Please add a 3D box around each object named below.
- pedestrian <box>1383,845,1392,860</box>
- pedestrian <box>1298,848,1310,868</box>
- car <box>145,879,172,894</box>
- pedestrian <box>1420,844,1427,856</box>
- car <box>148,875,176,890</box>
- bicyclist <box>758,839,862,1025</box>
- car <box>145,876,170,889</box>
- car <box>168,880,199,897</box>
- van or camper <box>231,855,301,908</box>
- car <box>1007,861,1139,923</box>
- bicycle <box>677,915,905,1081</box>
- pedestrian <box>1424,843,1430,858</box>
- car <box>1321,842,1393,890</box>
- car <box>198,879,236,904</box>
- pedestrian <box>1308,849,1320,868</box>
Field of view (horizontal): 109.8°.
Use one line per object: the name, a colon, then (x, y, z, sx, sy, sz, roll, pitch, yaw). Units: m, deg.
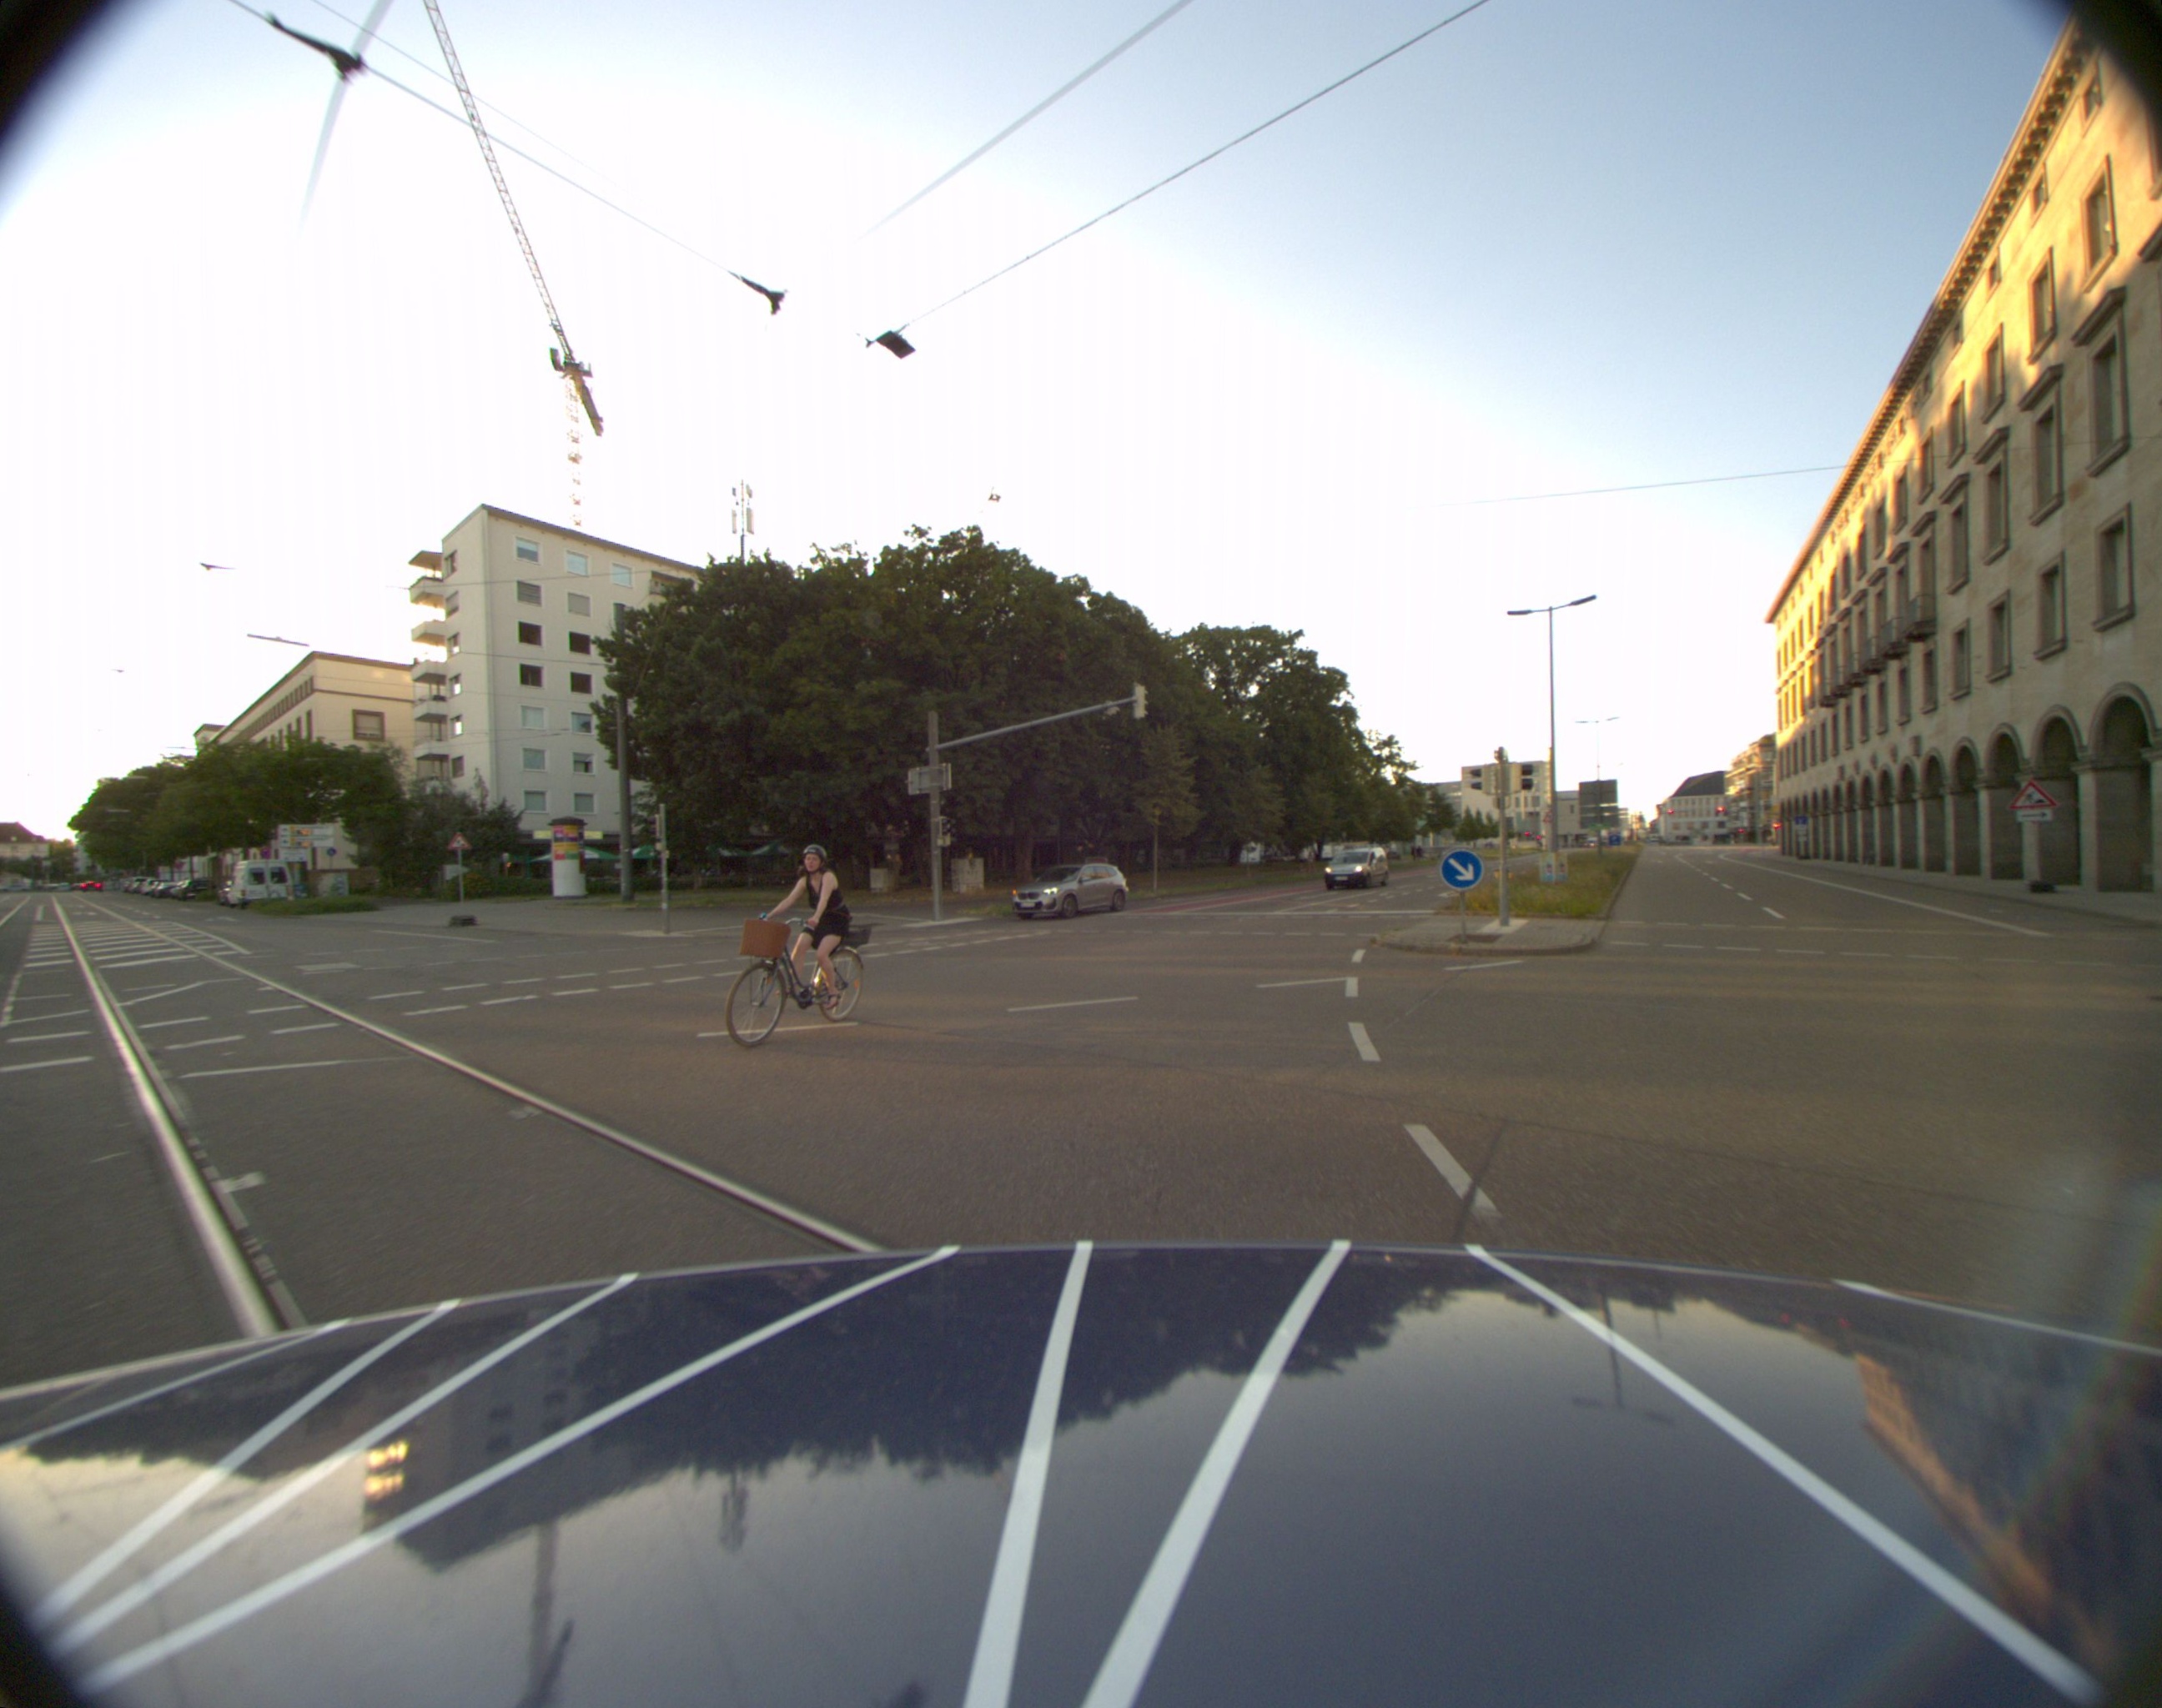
pedestrian: (30.419, -0.120, 75.437, 0.630, 1.455, 0.647, -1, 1, 39)
pedestrian: (17.742, 0.317, 60.345, 0.644, 1.585, 0.679, -2, 1, 39)
car: (-96.335, 3.405, 79.396, 3.799, 1.422, 1.727, -1, 0, 40)
pedestrian: (37.927, -0.439, 84.208, 0.630, 1.387, 0.647, -1, 1, 24)
car: (-96.044, 2.985, 79.428, 3.799, 1.478, 1.727, -1, 0, 41)
bicyclist: (-2.504, 0.687, 7.041, 0.609, 1.626, 0.598, -1, 1, 25)
car: (-107.514, 3.318, 88.514, 3.799, 1.478, 1.727, -1, 0, 41)
car: (-80.605, 3.080, 68.217, 3.799, 1.422, 1.727, -1, 0, 40)
van or camper: (-43.862, 1.455, 40.855, 4.697, 2.666, 2.116, -1, 0, 38)
car: (-0.156, 1.124, 23.882, 1.882, 1.654, 4.354, -1, 0, 36)
bicycle: (-2.535, 1.203, 6.964, 0.608, 1.108, 2.089, -1, 0, 25)
pedestrian: (39.581, -0.397, 86.924, 0.630, 1.656, 0.647, -2, 0, 24)
car: (12.071, 0.492, 33.083, 1.801, 1.900, 4.474, -1, 0, 35)
car: (-63.344, 2.713, 55.690, 3.799, 1.695, 1.727, -1, 0, 41)
pedestrian: (18.389, 0.382, 59.882, 0.675, 1.487, 0.647, -1, 1, 38)
